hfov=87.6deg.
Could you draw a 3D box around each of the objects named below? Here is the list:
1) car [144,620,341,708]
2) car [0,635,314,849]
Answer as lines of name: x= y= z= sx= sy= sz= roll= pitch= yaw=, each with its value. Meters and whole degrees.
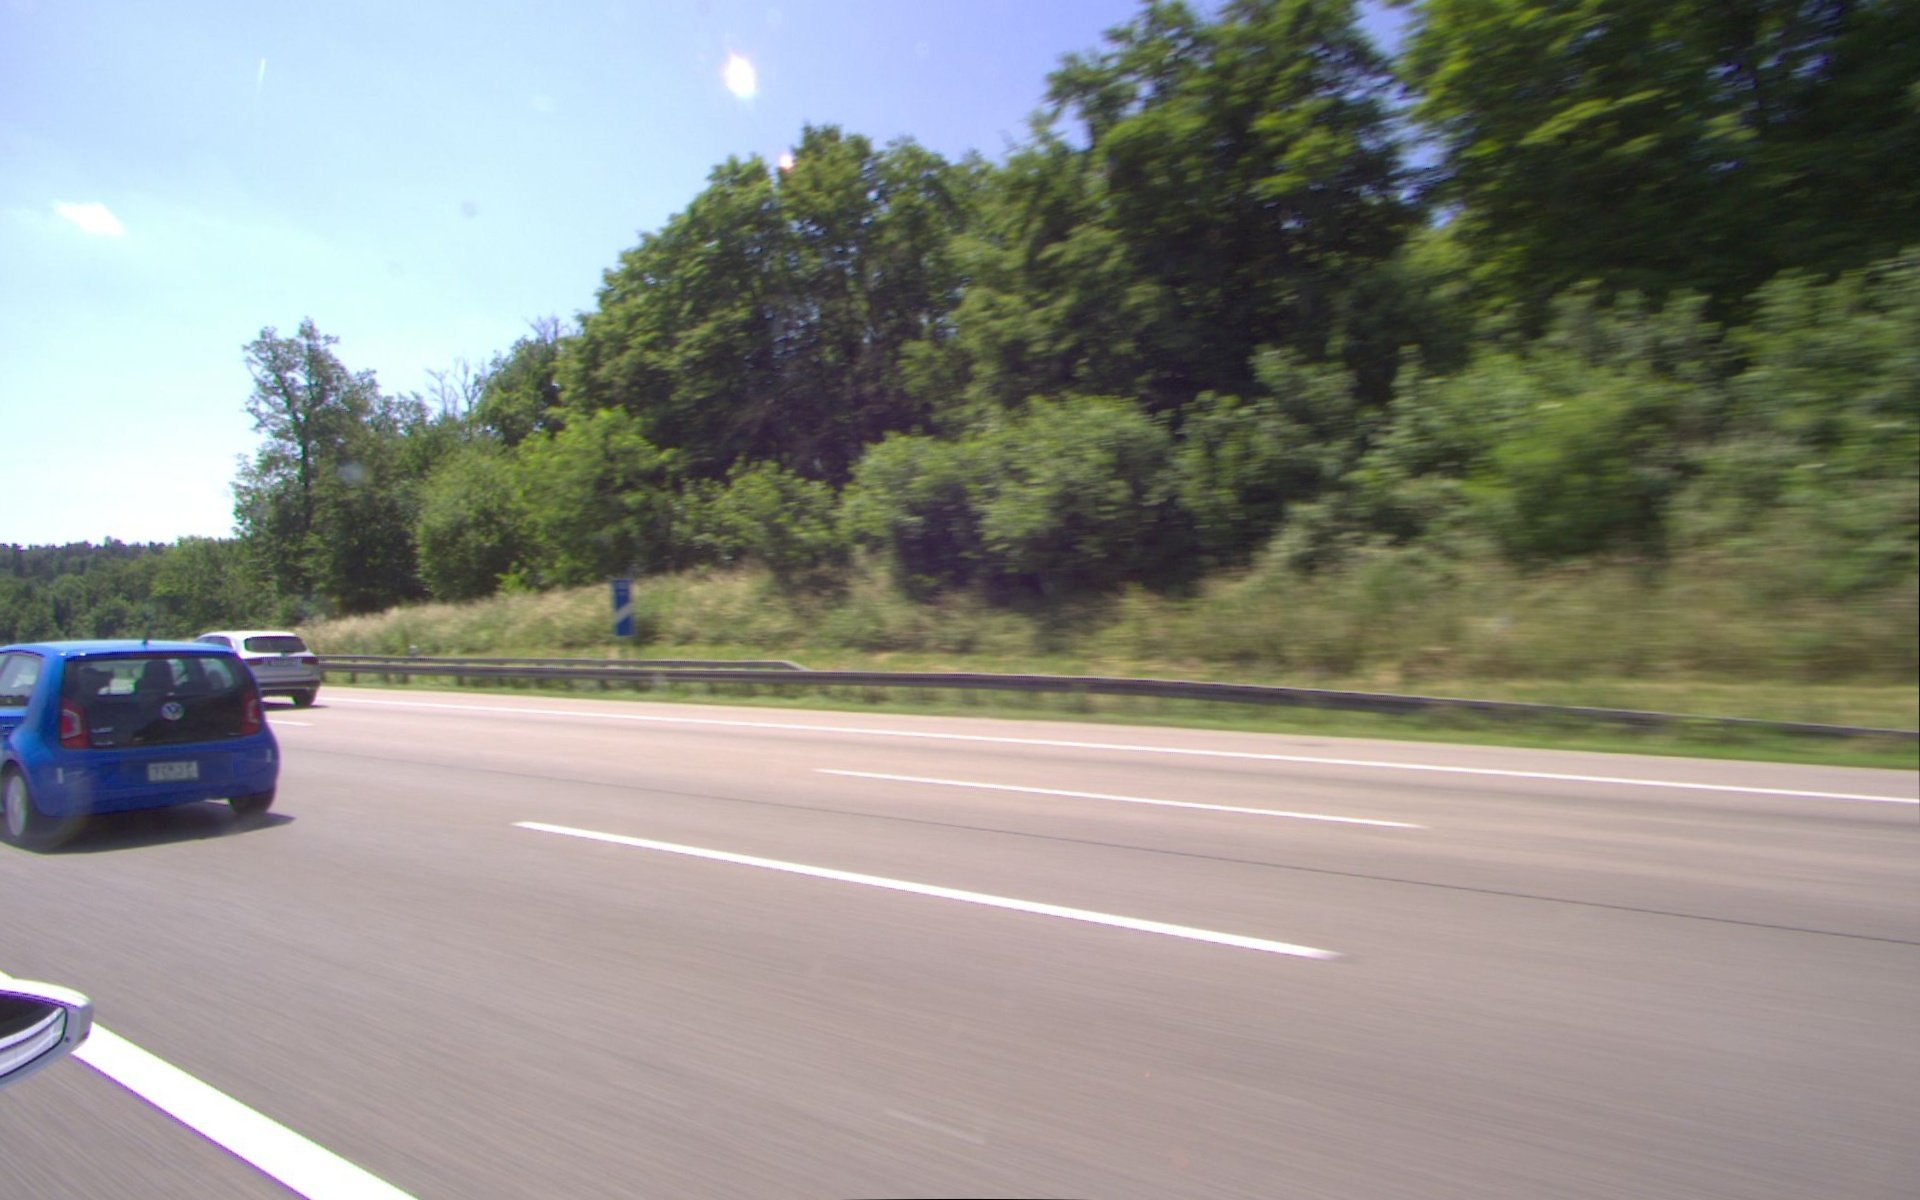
car: x=-16.228 y=1.368 z=22.557 sx=5.164 sy=1.753 sz=1.798 roll=0 pitch=-2 yaw=32
car: x=-7.431 y=1.019 z=8.576 sx=3.944 sy=1.429 sz=1.734 roll=-1 pitch=-1 yaw=33
